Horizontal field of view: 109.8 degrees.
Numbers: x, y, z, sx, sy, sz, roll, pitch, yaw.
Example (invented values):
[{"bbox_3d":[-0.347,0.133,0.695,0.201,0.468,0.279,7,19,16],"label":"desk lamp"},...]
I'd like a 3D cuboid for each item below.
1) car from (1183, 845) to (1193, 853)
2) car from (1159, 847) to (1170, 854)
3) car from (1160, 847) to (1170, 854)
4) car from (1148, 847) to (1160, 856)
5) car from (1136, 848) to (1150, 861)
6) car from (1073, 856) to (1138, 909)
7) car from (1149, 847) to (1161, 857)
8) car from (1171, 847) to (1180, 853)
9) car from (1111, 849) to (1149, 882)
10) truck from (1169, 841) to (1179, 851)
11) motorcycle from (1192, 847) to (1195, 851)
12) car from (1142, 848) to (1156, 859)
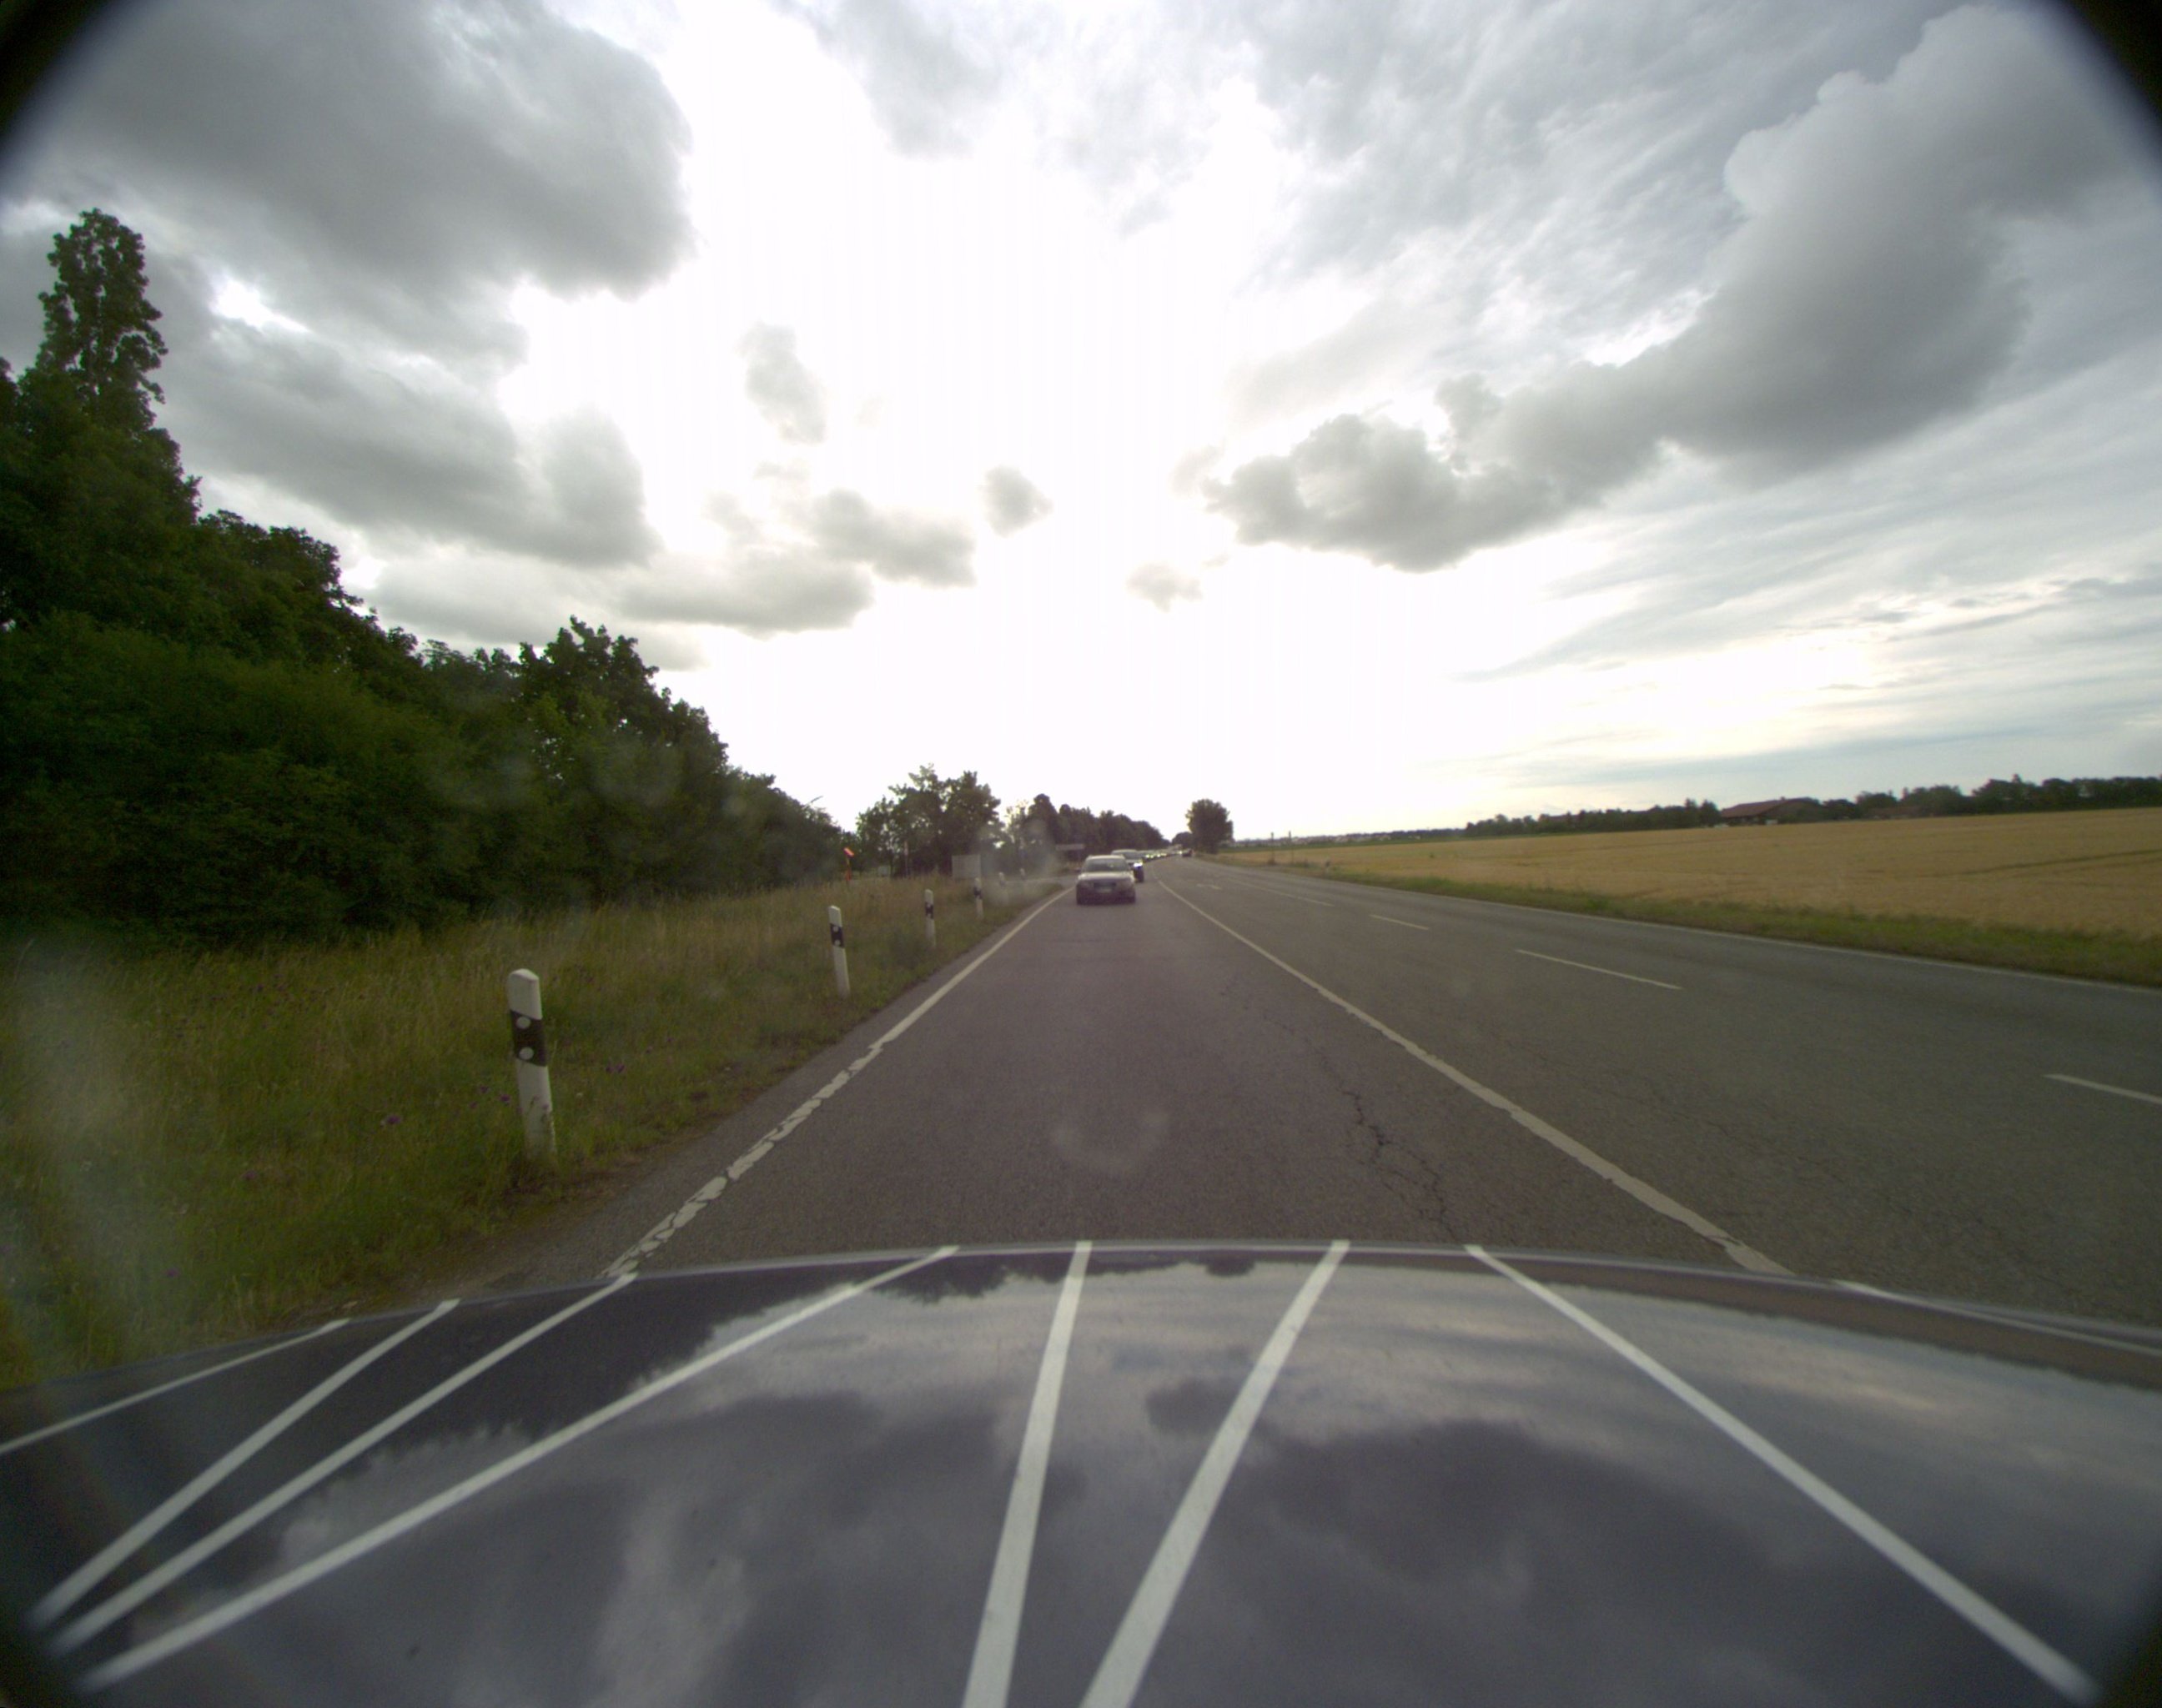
[{"bbox_3d":[22.159,-1.026,157.296,1.830,1.402,4.427,-3,0,10],"label":"car"},{"bbox_3d":[18.594,-0.802,168.940,1.953,1.573,4.140,-2,0,13],"label":"car"},{"bbox_3d":[17.844,-0.746,161.594,1.792,1.573,4.140,-2,0,11],"label":"car"},{"bbox_3d":[13.415,-0.528,139.063,1.792,1.573,4.139,-2,0,9],"label":"car"},{"bbox_3d":[8.344,0.055,102.209,1.793,1.573,4.369,-2,0,6],"label":"car"},{"bbox_3d":[0.778,0.803,23.631,1.793,1.415,4.367,-2,0,2],"label":"car"},{"bbox_3d":[12.496,-0.293,128.485,1.793,1.573,4.189,-2,0,7],"label":"car"},{"bbox_3d":[24.835,-1.142,200.163,1.792,1.531,4.140,-2,0,13],"label":"car"},{"bbox_3d":[2.526,0.566,40.083,1.793,1.573,4.367,-2,0,2],"label":"car"},{"bbox_3d":[27.635,-2.506,225.217,2.318,2.749,7.679,-2,1,12],"label":"truck"},{"bbox_3d":[29.226,-1.293,197.494,0.727,1.142,2.026,-2,0,12],"label":"motorcycle"},{"bbox_3d":[9.963,-0.086,111.368,1.793,1.573,4.189,-2,0,7],"label":"car"}]
